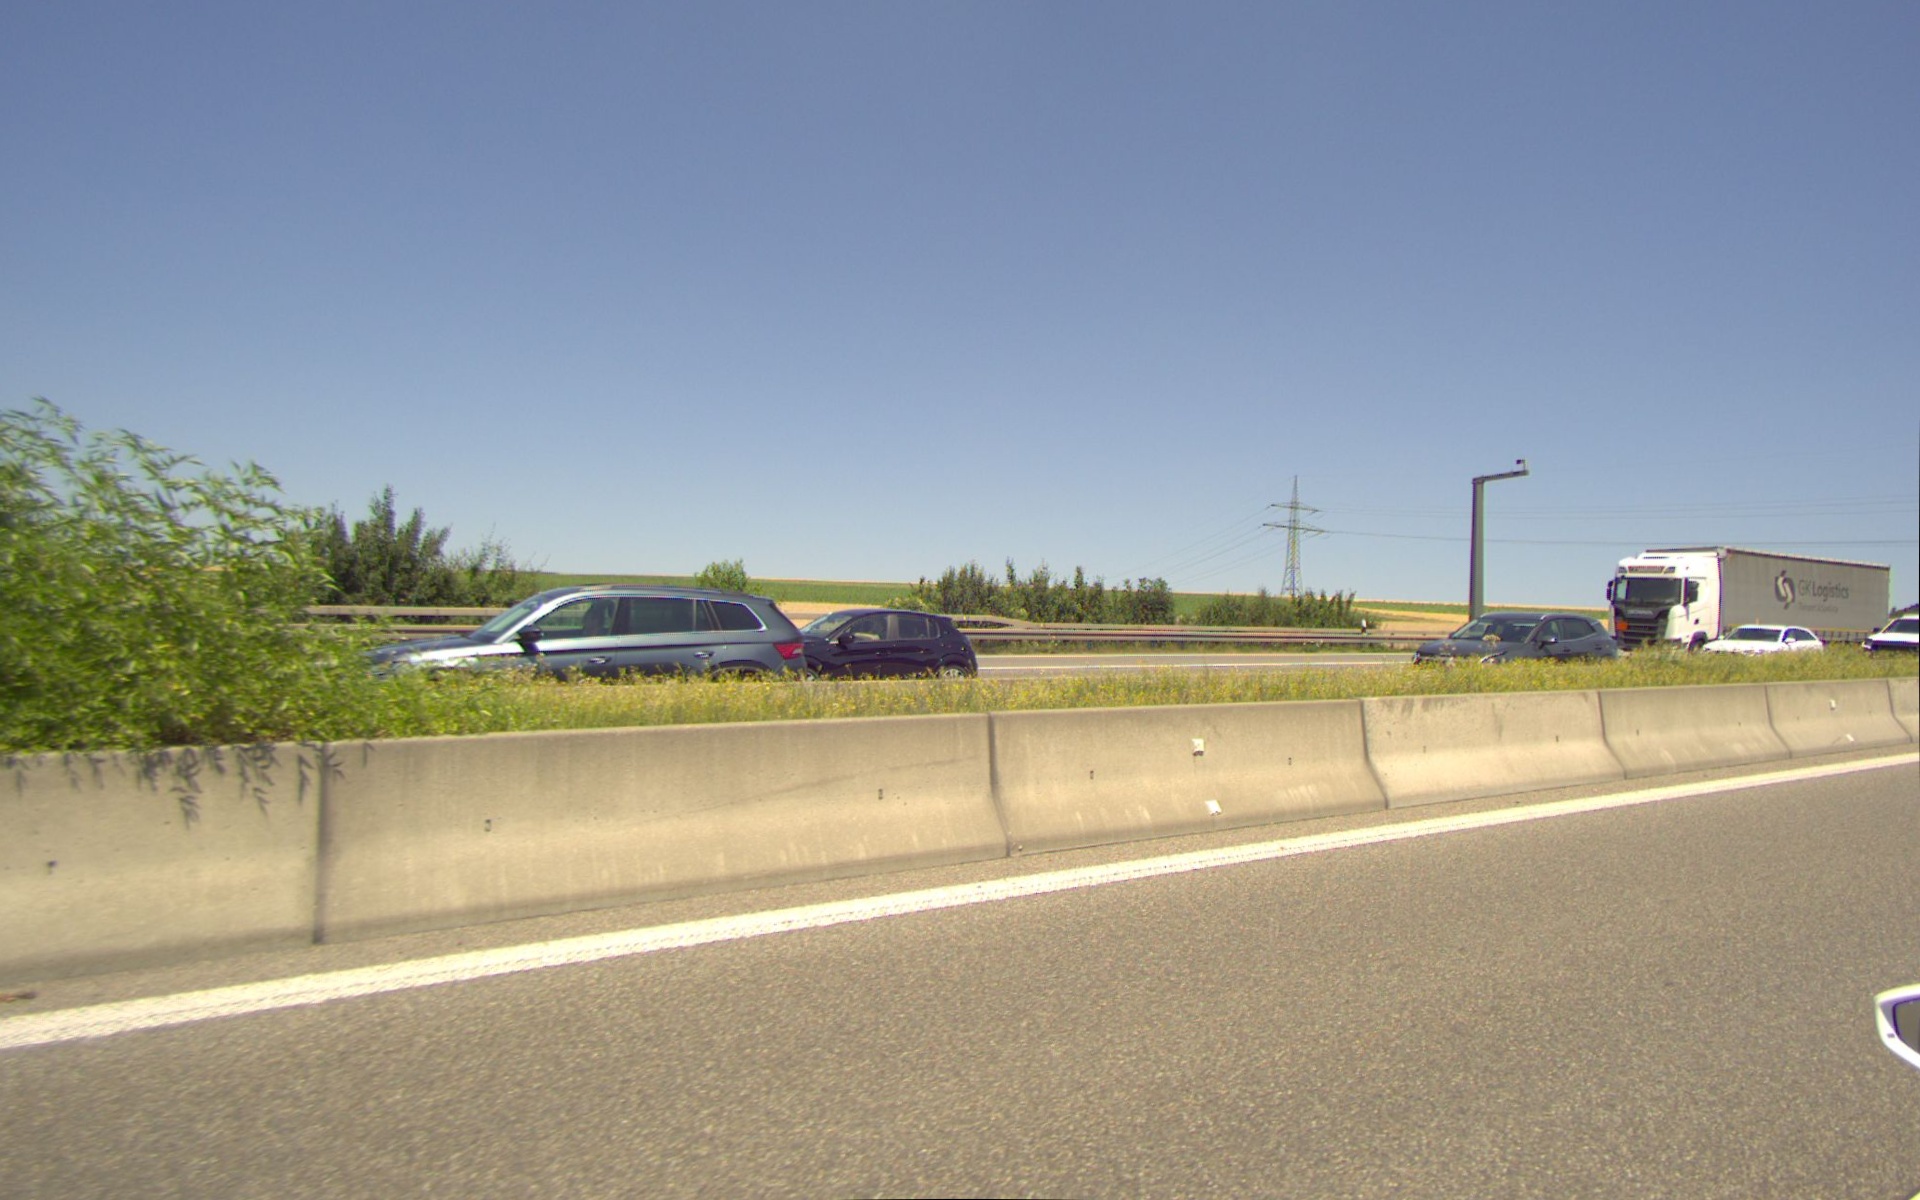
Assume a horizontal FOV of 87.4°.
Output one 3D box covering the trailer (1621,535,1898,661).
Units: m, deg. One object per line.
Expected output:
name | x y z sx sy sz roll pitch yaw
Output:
trailer | 32.155 0.125 40.044 14.362 4.382 3.111 2 0 -28

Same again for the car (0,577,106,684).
car | -14.250 0.362 13.244 4.299 1.404 1.649 1 0 -31

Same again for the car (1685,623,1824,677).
car | 24.275 1.514 30.662 4.439 1.479 1.834 2 0 -31

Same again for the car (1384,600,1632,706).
car | 10.056 0.918 18.371 4.425 1.695 1.984 1 0 -31

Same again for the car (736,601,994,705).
car | -1.442 0.778 15.706 3.691 1.422 1.614 1 0 -33

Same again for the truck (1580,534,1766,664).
truck | 26.058 0.045 36.713 6.071 4.385 3.119 2 0 -28

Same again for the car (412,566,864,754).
car | -3.421 0.579 10.841 4.300 1.656 1.983 2 0 -31

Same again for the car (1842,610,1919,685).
car | 27.419 1.366 28.372 5.608 1.929 1.984 2 0 -29
